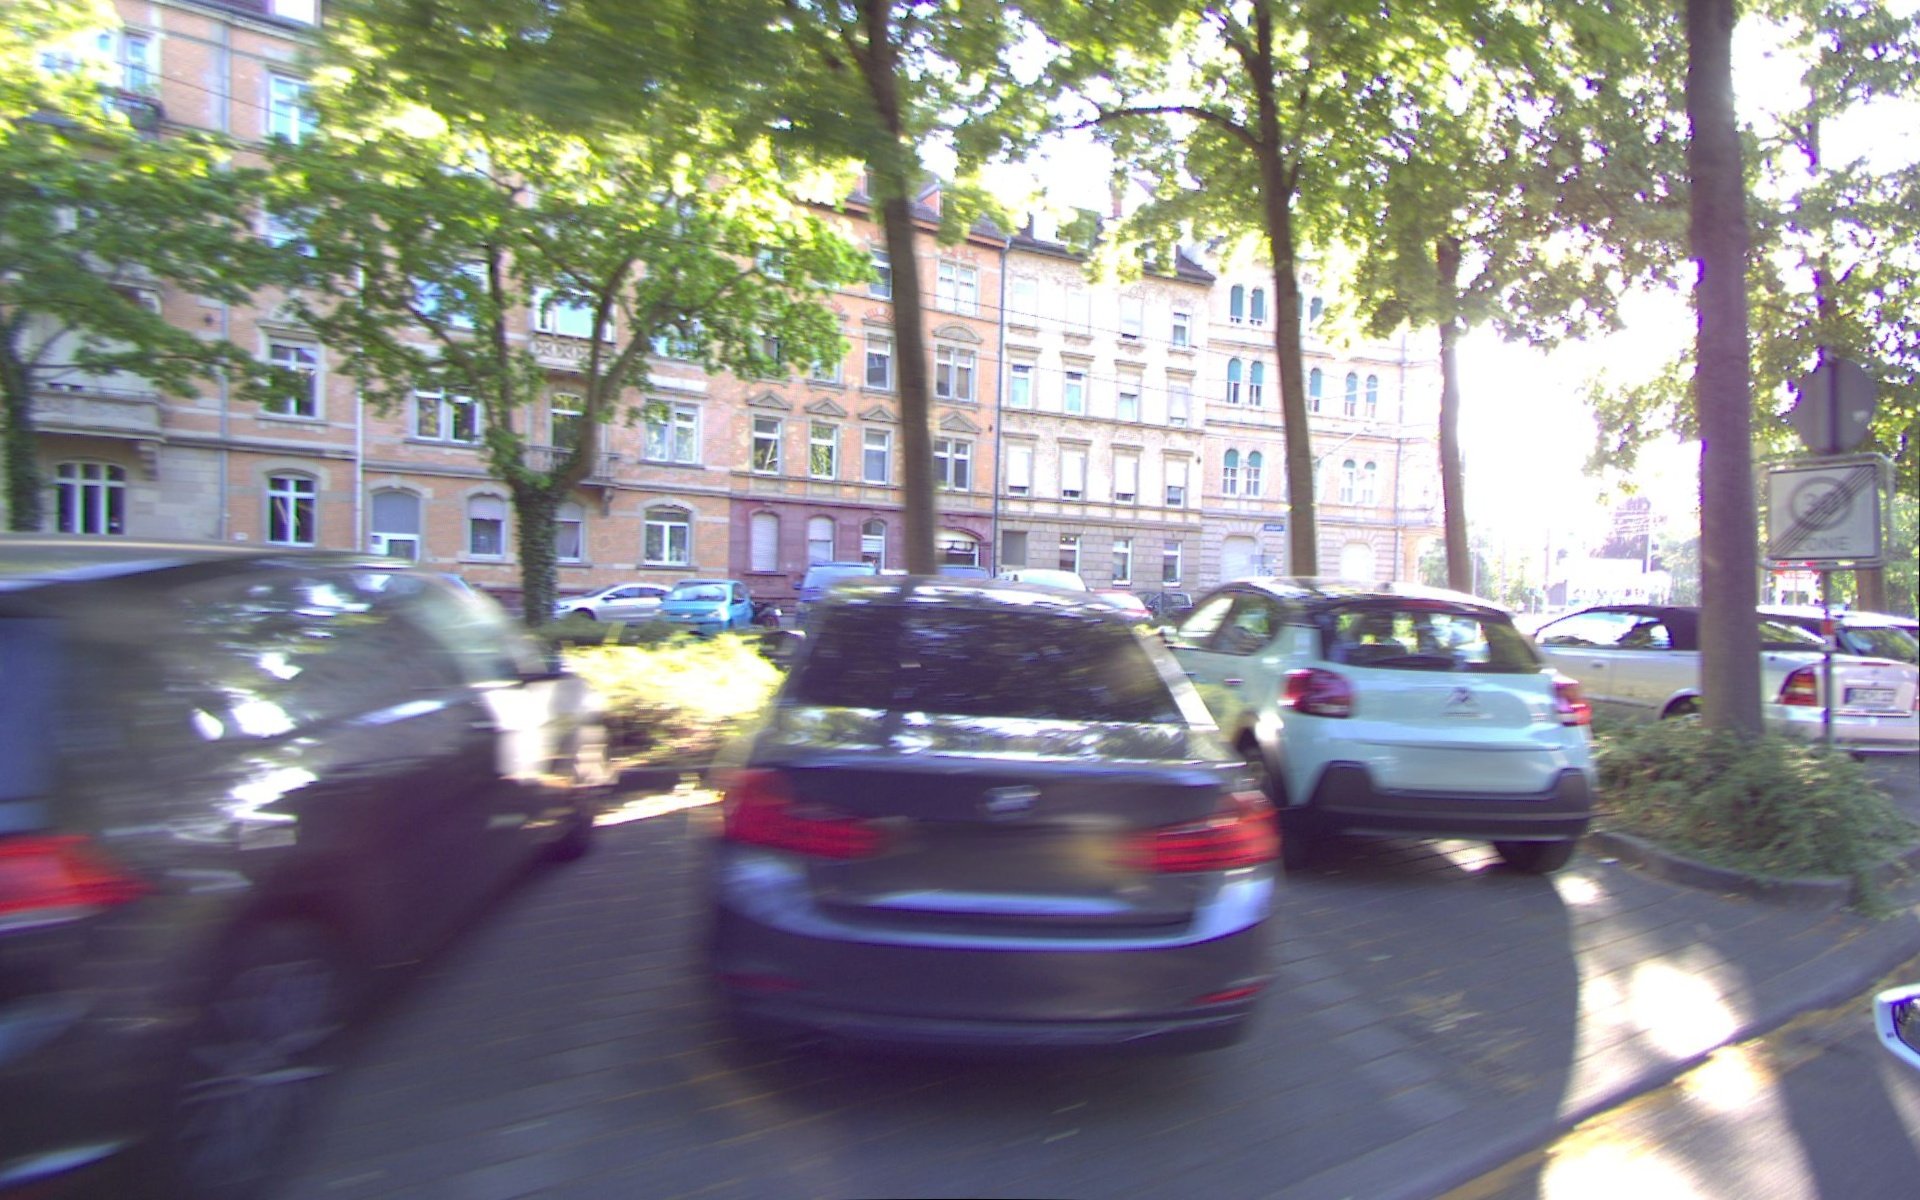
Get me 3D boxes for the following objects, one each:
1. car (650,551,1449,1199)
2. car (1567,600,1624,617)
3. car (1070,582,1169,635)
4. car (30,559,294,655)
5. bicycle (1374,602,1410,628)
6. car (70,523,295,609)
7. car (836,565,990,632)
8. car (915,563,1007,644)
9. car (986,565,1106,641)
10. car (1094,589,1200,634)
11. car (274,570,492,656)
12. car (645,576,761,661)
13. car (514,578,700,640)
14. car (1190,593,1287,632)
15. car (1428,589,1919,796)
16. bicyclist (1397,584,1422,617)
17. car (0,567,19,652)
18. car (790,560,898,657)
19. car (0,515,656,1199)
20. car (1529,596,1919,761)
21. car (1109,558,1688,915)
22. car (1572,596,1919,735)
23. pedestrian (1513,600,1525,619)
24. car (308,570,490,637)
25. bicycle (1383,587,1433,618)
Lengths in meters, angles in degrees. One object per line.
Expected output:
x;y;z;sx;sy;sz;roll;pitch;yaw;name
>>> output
0.053;0.579;4.414;1.797;1.458;4.196;3;3;-5;car
61.452;0.805;97.200;4.423;1.507;1.772;2;1;41;car
4.280;0.203;27.503;1.685;1.347;3.628;1;0;-7;car
-13.154;0.098;16.879;1.694;1.399;3.735;1;0;-5;car
21.628;0.748;50.297;1.766;1.222;0.500;1;4;-22;bicycle
-17.885;-0.737;23.370;3.958;1.799;1.783;1;1;-33;car
-1.553;-0.066;34.207;4.946;2.091;1.840;0;4;-33;car
-0.081;0.064;25.012;2.045;1.788;4.834;1;0;-3;car
2.141;0.060;26.692;2.047;1.788;5.051;1;0;-9;car
7.315;0.426;39.250;3.830;1.584;1.840;0;4;-33;car
-10.589;0.197;18.837;1.562;1.399;4.289;1;0;0;car
-5.535;0.363;22.021;1.628;1.662;3.650;1;0;-1;car
-10.042;0.215;28.675;4.720;1.562;1.840;0;4;-33;car
11.501;0.500;41.489;3.447;1.448;1.845;1;4;-25;car
6.770;0.731;9.883;1.745;1.383;3.972;2;3;-14;car
21.804;0.014;48.780;0.689;1.510;0.593;8;3;-3;bicyclist
-22.204;0.159;20.594;3.958;1.799;1.783;1;0;-33;car
-2.633;0.174;23.633;1.960;2.040;4.000;1;0;1;car
-2.359;0.498;3.272;1.797;1.458;3.868;3;3;-5;car
9.039;0.779;11.772;1.745;1.425;4.026;2;2;-15;car
2.292;0.559;6.521;1.797;1.514;3.881;3;3;-4;car
10.905;0.774;13.778;1.744;1.449;4.282;2;2;-13;car
54.138;0.914;97.260;0.911;1.715;0.777;2;1;21;pedestrian
-14.527;0.067;26.091;4.015;1.539;1.840;0;4;-33;car
21.769;0.106;48.819;2.088;1.147;0.502;9;3;-6;bicycle
